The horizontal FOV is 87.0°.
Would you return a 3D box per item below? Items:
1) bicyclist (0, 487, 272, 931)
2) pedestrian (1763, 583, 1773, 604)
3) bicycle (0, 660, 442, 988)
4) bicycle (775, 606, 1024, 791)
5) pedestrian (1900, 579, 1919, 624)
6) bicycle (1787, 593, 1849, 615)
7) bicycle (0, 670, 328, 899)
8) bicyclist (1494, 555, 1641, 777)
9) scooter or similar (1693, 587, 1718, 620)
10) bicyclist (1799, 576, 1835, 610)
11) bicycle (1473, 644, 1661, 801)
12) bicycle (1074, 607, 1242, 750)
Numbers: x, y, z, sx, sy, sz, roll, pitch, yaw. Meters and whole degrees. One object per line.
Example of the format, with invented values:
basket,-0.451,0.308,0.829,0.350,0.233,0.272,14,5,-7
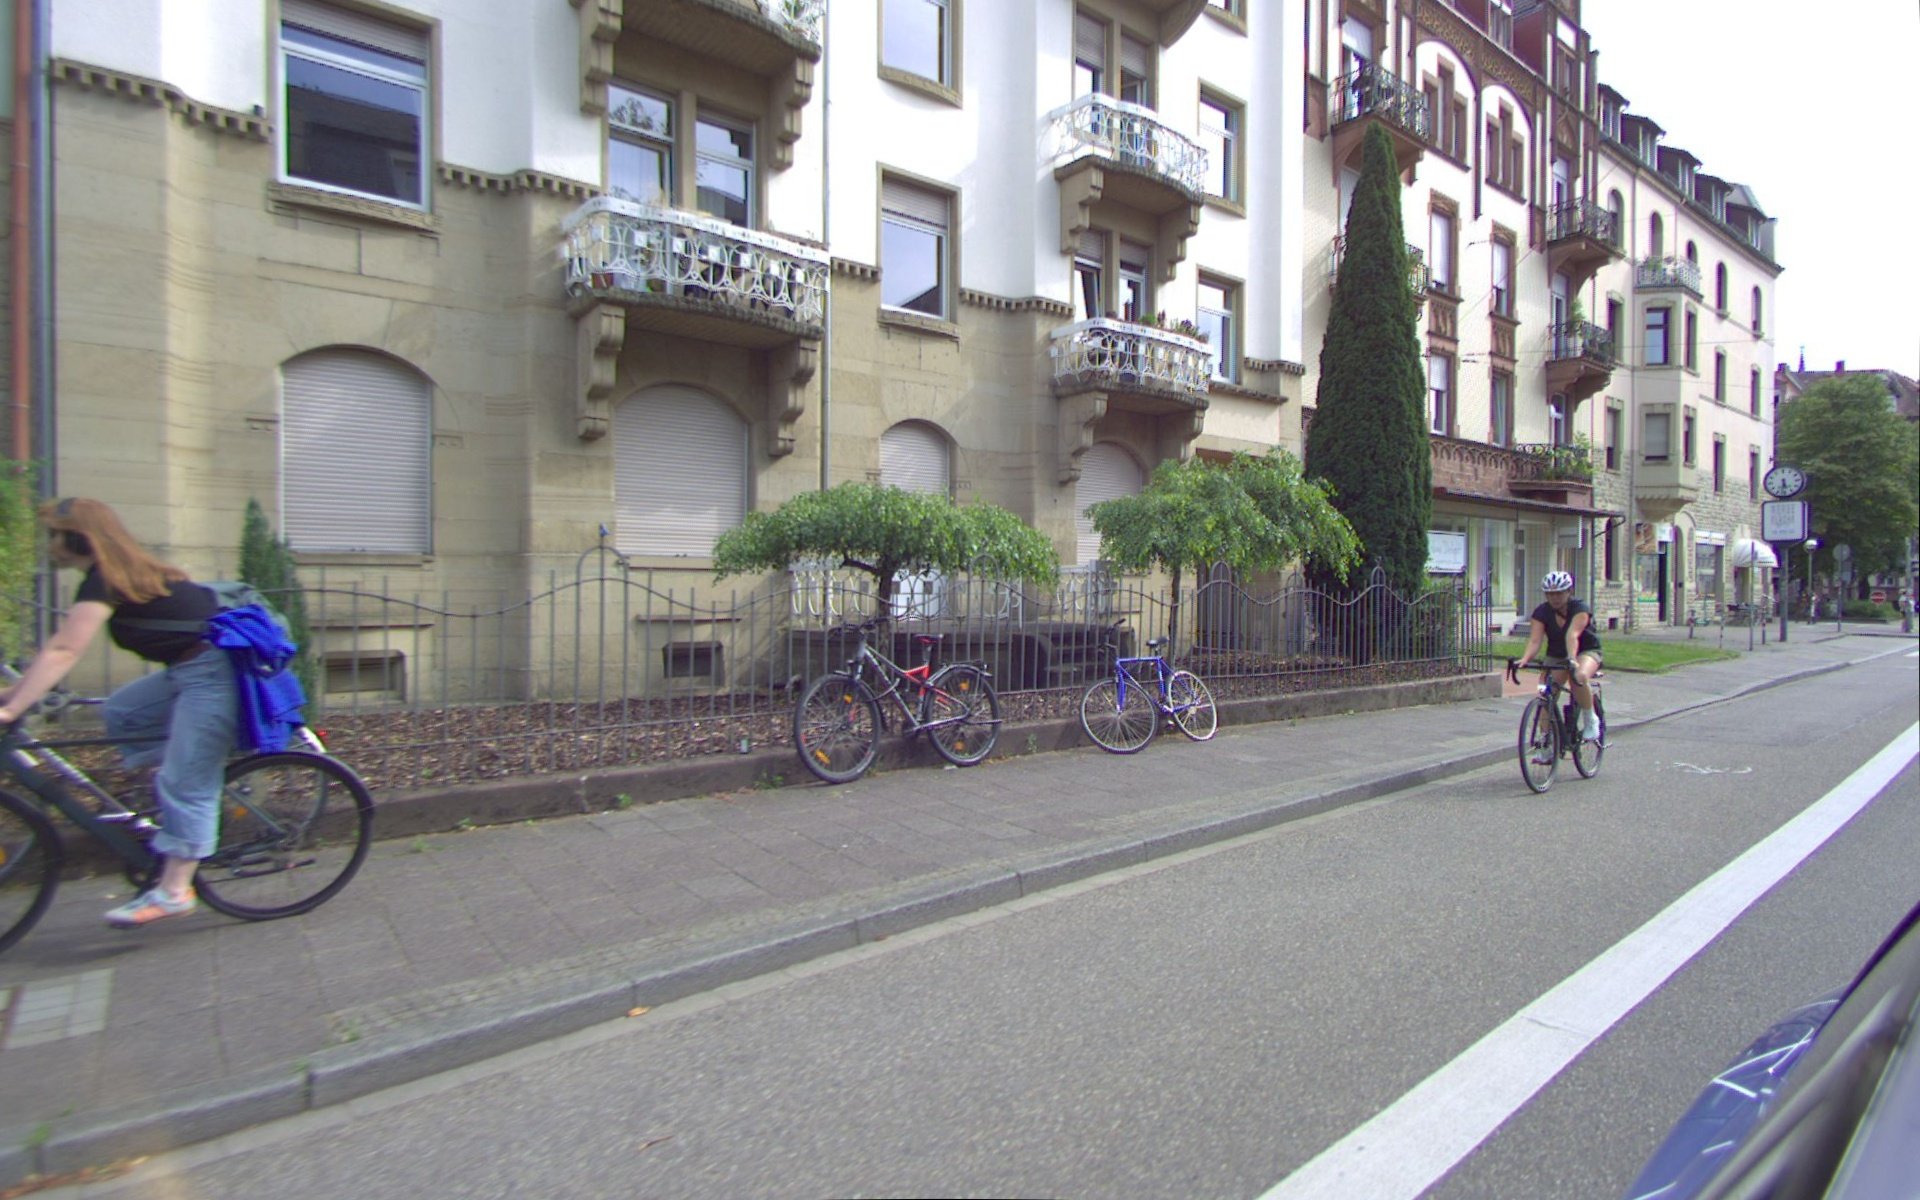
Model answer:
bicyclist,-3.141,0.349,3.860,0.786,1.488,0.649,0,3,-41
pedestrian,66.936,-0.520,83.836,0.630,1.715,0.611,0,1,-43
bicycle,-3.166,0.795,3.873,2.001,0.974,0.690,-1,3,-41
bicycle,-0.381,0.638,7.250,1.886,1.156,0.392,0,2,-39
pedestrian,36.875,0.062,39.028,0.746,1.680,0.720,0,5,-42
bicycle,43.796,0.209,51.713,0.871,1.058,3.091,0,1,7
bicycle,-3.652,0.807,4.713,1.176,0.863,0.279,-1,2,-38
bicyclist,4.727,0.472,7.863,1.091,1.590,0.639,0,-1,-41
scooter or similar,27.284,0.131,37.020,1.175,1.182,0.398,0,3,-38
bicyclist,43.803,-0.342,51.727,0.825,1.711,1.244,1,0,8
bicycle,4.770,0.881,7.886,2.035,0.993,0.639,-1,-1,-41
bicycle,1.760,0.635,8.838,1.727,1.116,0.392,0,2,-39
